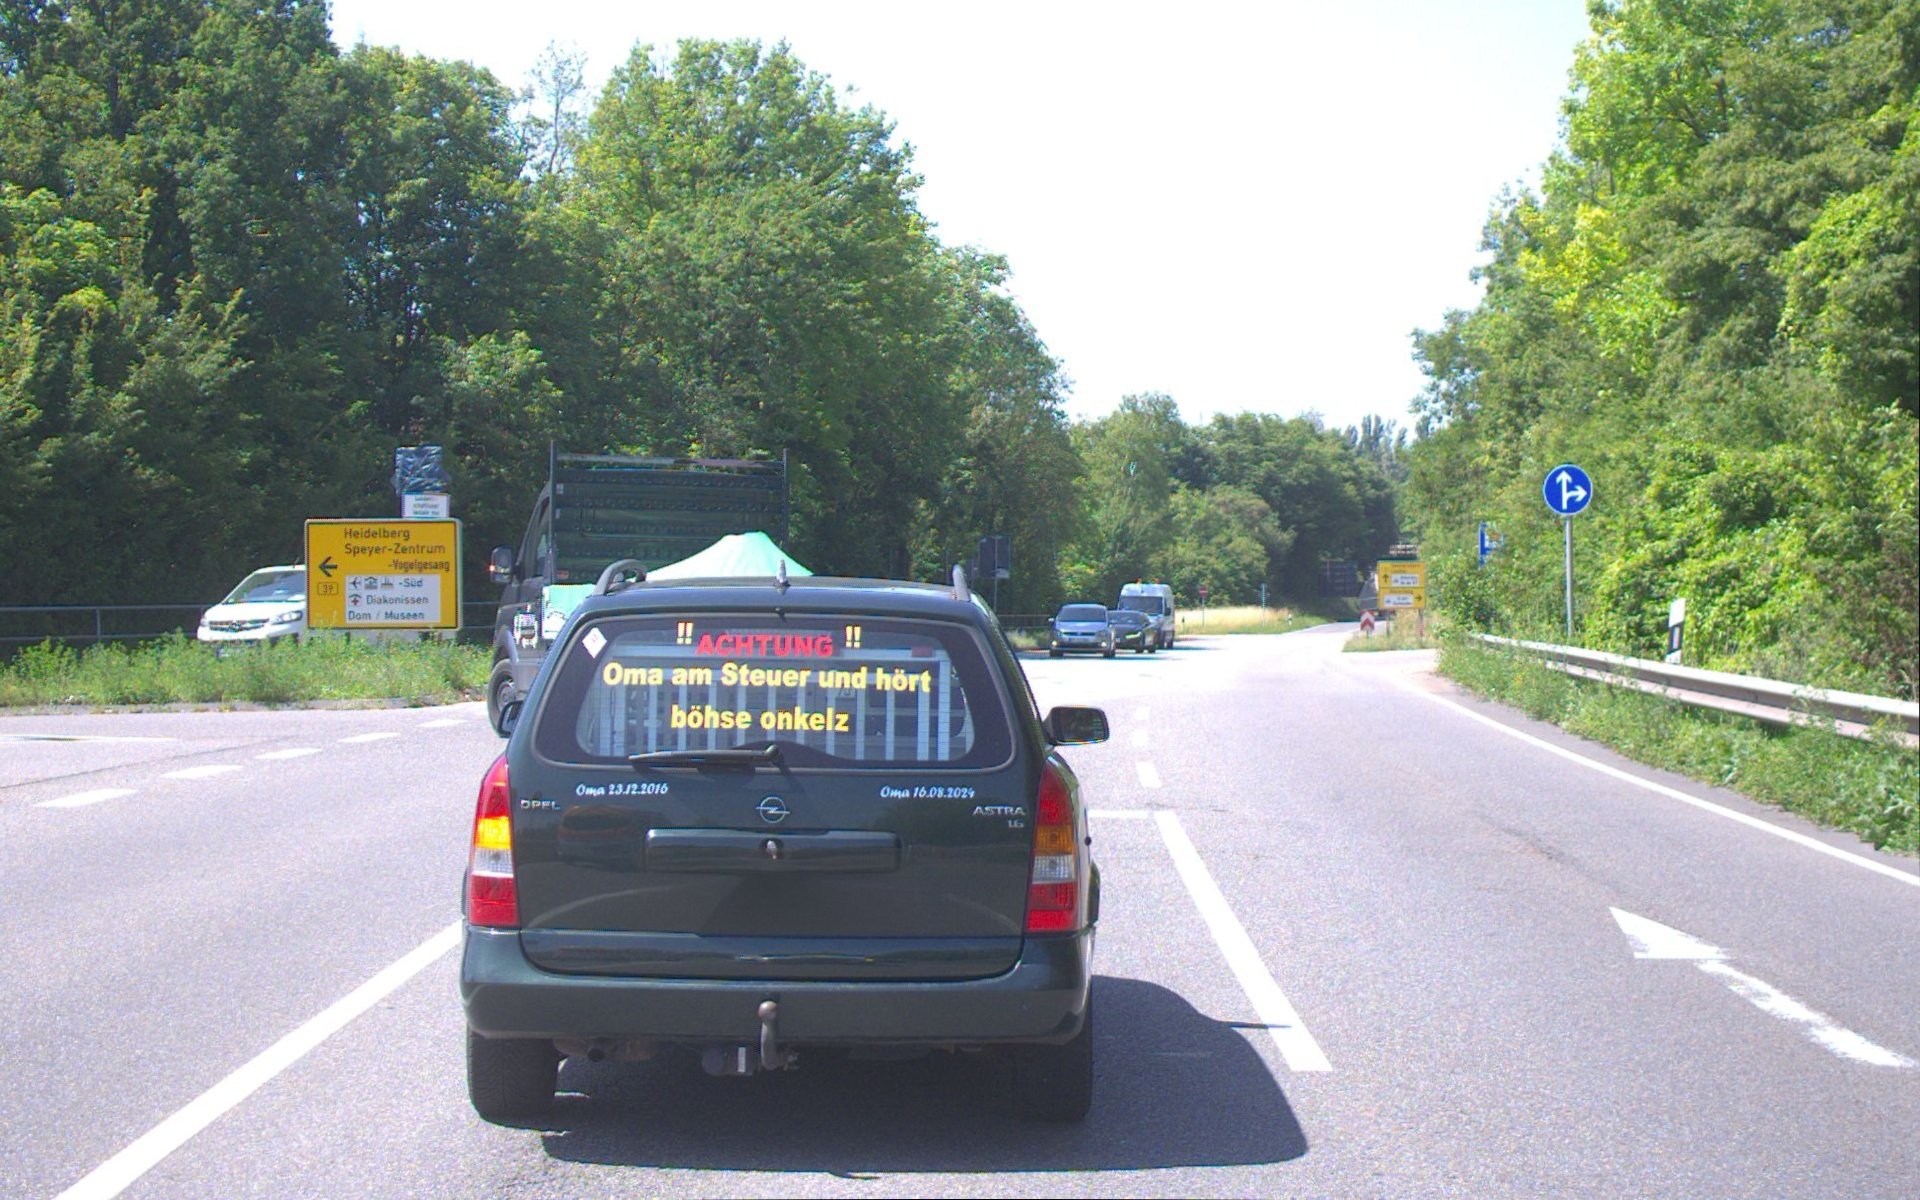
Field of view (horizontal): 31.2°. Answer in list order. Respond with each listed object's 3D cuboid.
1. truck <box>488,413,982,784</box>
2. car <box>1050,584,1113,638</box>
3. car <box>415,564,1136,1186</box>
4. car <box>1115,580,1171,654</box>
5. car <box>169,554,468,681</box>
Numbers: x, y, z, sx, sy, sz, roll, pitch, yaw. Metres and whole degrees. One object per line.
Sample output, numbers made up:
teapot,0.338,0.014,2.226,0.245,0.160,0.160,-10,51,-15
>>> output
truck,-1.977,-0.050,27.152,2.138,2.556,6.641,0,1,-20
car,3.332,0.293,94.014,1.644,1.414,3.766,1,0,3
car,-0.429,0.643,10.166,1.720,1.452,3.797,1,1,1
car,7.313,0.664,136.770,2.105,2.840,6.011,1,0,4
car,-10.198,0.235,55.092,2.013,1.917,5.187,1,1,26
